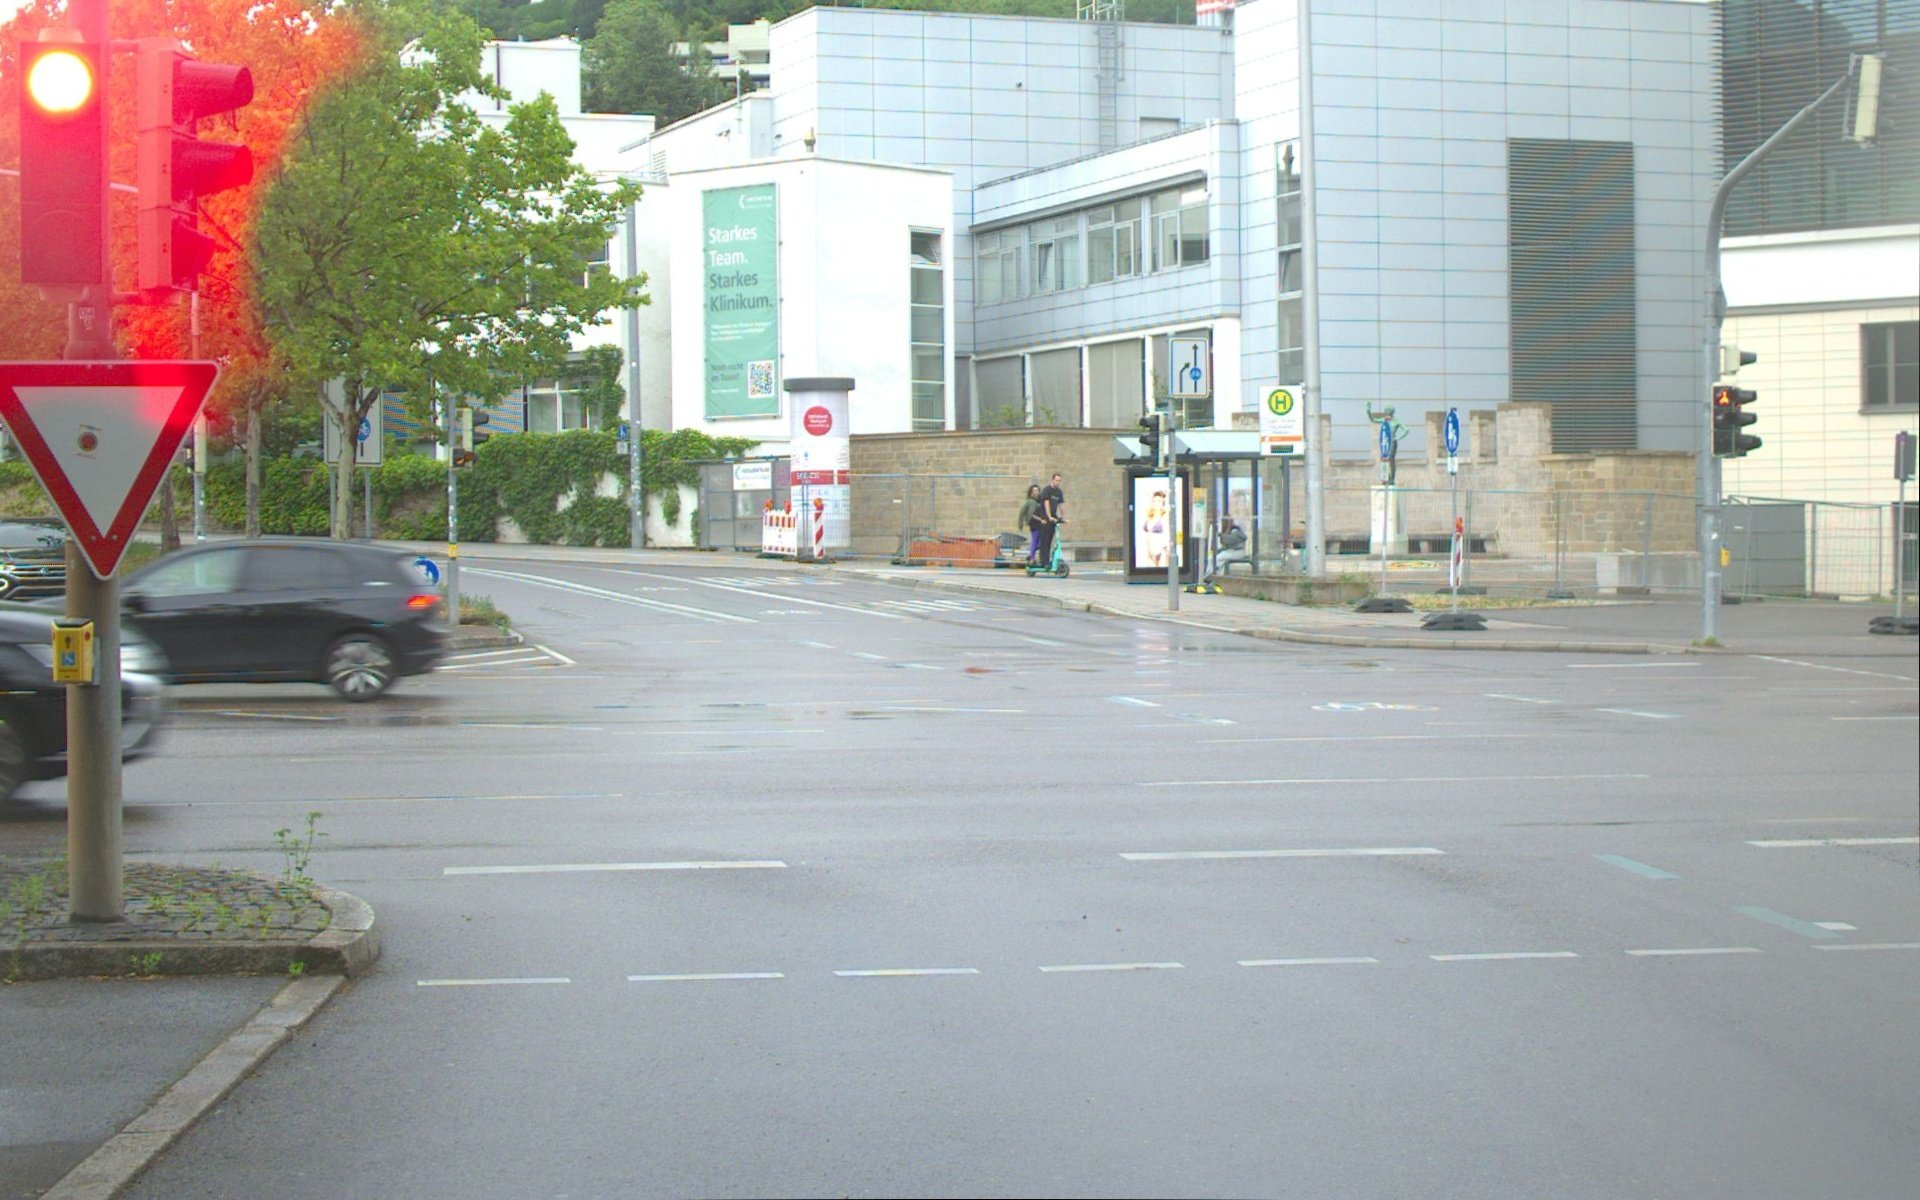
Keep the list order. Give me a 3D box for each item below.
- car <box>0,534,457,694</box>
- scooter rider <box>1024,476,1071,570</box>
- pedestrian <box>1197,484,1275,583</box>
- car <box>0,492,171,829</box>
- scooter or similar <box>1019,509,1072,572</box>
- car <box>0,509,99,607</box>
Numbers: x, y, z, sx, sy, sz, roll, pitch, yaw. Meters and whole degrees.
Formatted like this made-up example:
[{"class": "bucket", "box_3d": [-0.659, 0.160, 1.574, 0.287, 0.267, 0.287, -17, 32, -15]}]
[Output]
[{"class": "car", "box_3d": [-6.767, 0.107, 31.010, 4.372, 1.373, 2.001, 0, 1, -7]}, {"class": "scooter rider", "box_3d": [1.757, -1.544, 69.109, 0.723, 1.877, 0.632, 1, 0, -20]}, {"class": "pedestrian", "box_3d": [4.934, -1.183, 61.531, 1.257, 1.713, 1.016, 1, 0, -2]}, {"class": "car", "box_3d": [-6.541, 0.285, 17.933, 4.671, 1.700, 1.798, 0, 2, -11]}, {"class": "scooter or similar", "box_3d": [1.718, -1.196, 69.163, 0.591, 1.234, 1.314, 1, 0, -22]}, {"class": "car", "box_3d": [-15.669, -0.735, 57.726, 1.788, 1.579, 4.001, -1, 2, -22]}]
